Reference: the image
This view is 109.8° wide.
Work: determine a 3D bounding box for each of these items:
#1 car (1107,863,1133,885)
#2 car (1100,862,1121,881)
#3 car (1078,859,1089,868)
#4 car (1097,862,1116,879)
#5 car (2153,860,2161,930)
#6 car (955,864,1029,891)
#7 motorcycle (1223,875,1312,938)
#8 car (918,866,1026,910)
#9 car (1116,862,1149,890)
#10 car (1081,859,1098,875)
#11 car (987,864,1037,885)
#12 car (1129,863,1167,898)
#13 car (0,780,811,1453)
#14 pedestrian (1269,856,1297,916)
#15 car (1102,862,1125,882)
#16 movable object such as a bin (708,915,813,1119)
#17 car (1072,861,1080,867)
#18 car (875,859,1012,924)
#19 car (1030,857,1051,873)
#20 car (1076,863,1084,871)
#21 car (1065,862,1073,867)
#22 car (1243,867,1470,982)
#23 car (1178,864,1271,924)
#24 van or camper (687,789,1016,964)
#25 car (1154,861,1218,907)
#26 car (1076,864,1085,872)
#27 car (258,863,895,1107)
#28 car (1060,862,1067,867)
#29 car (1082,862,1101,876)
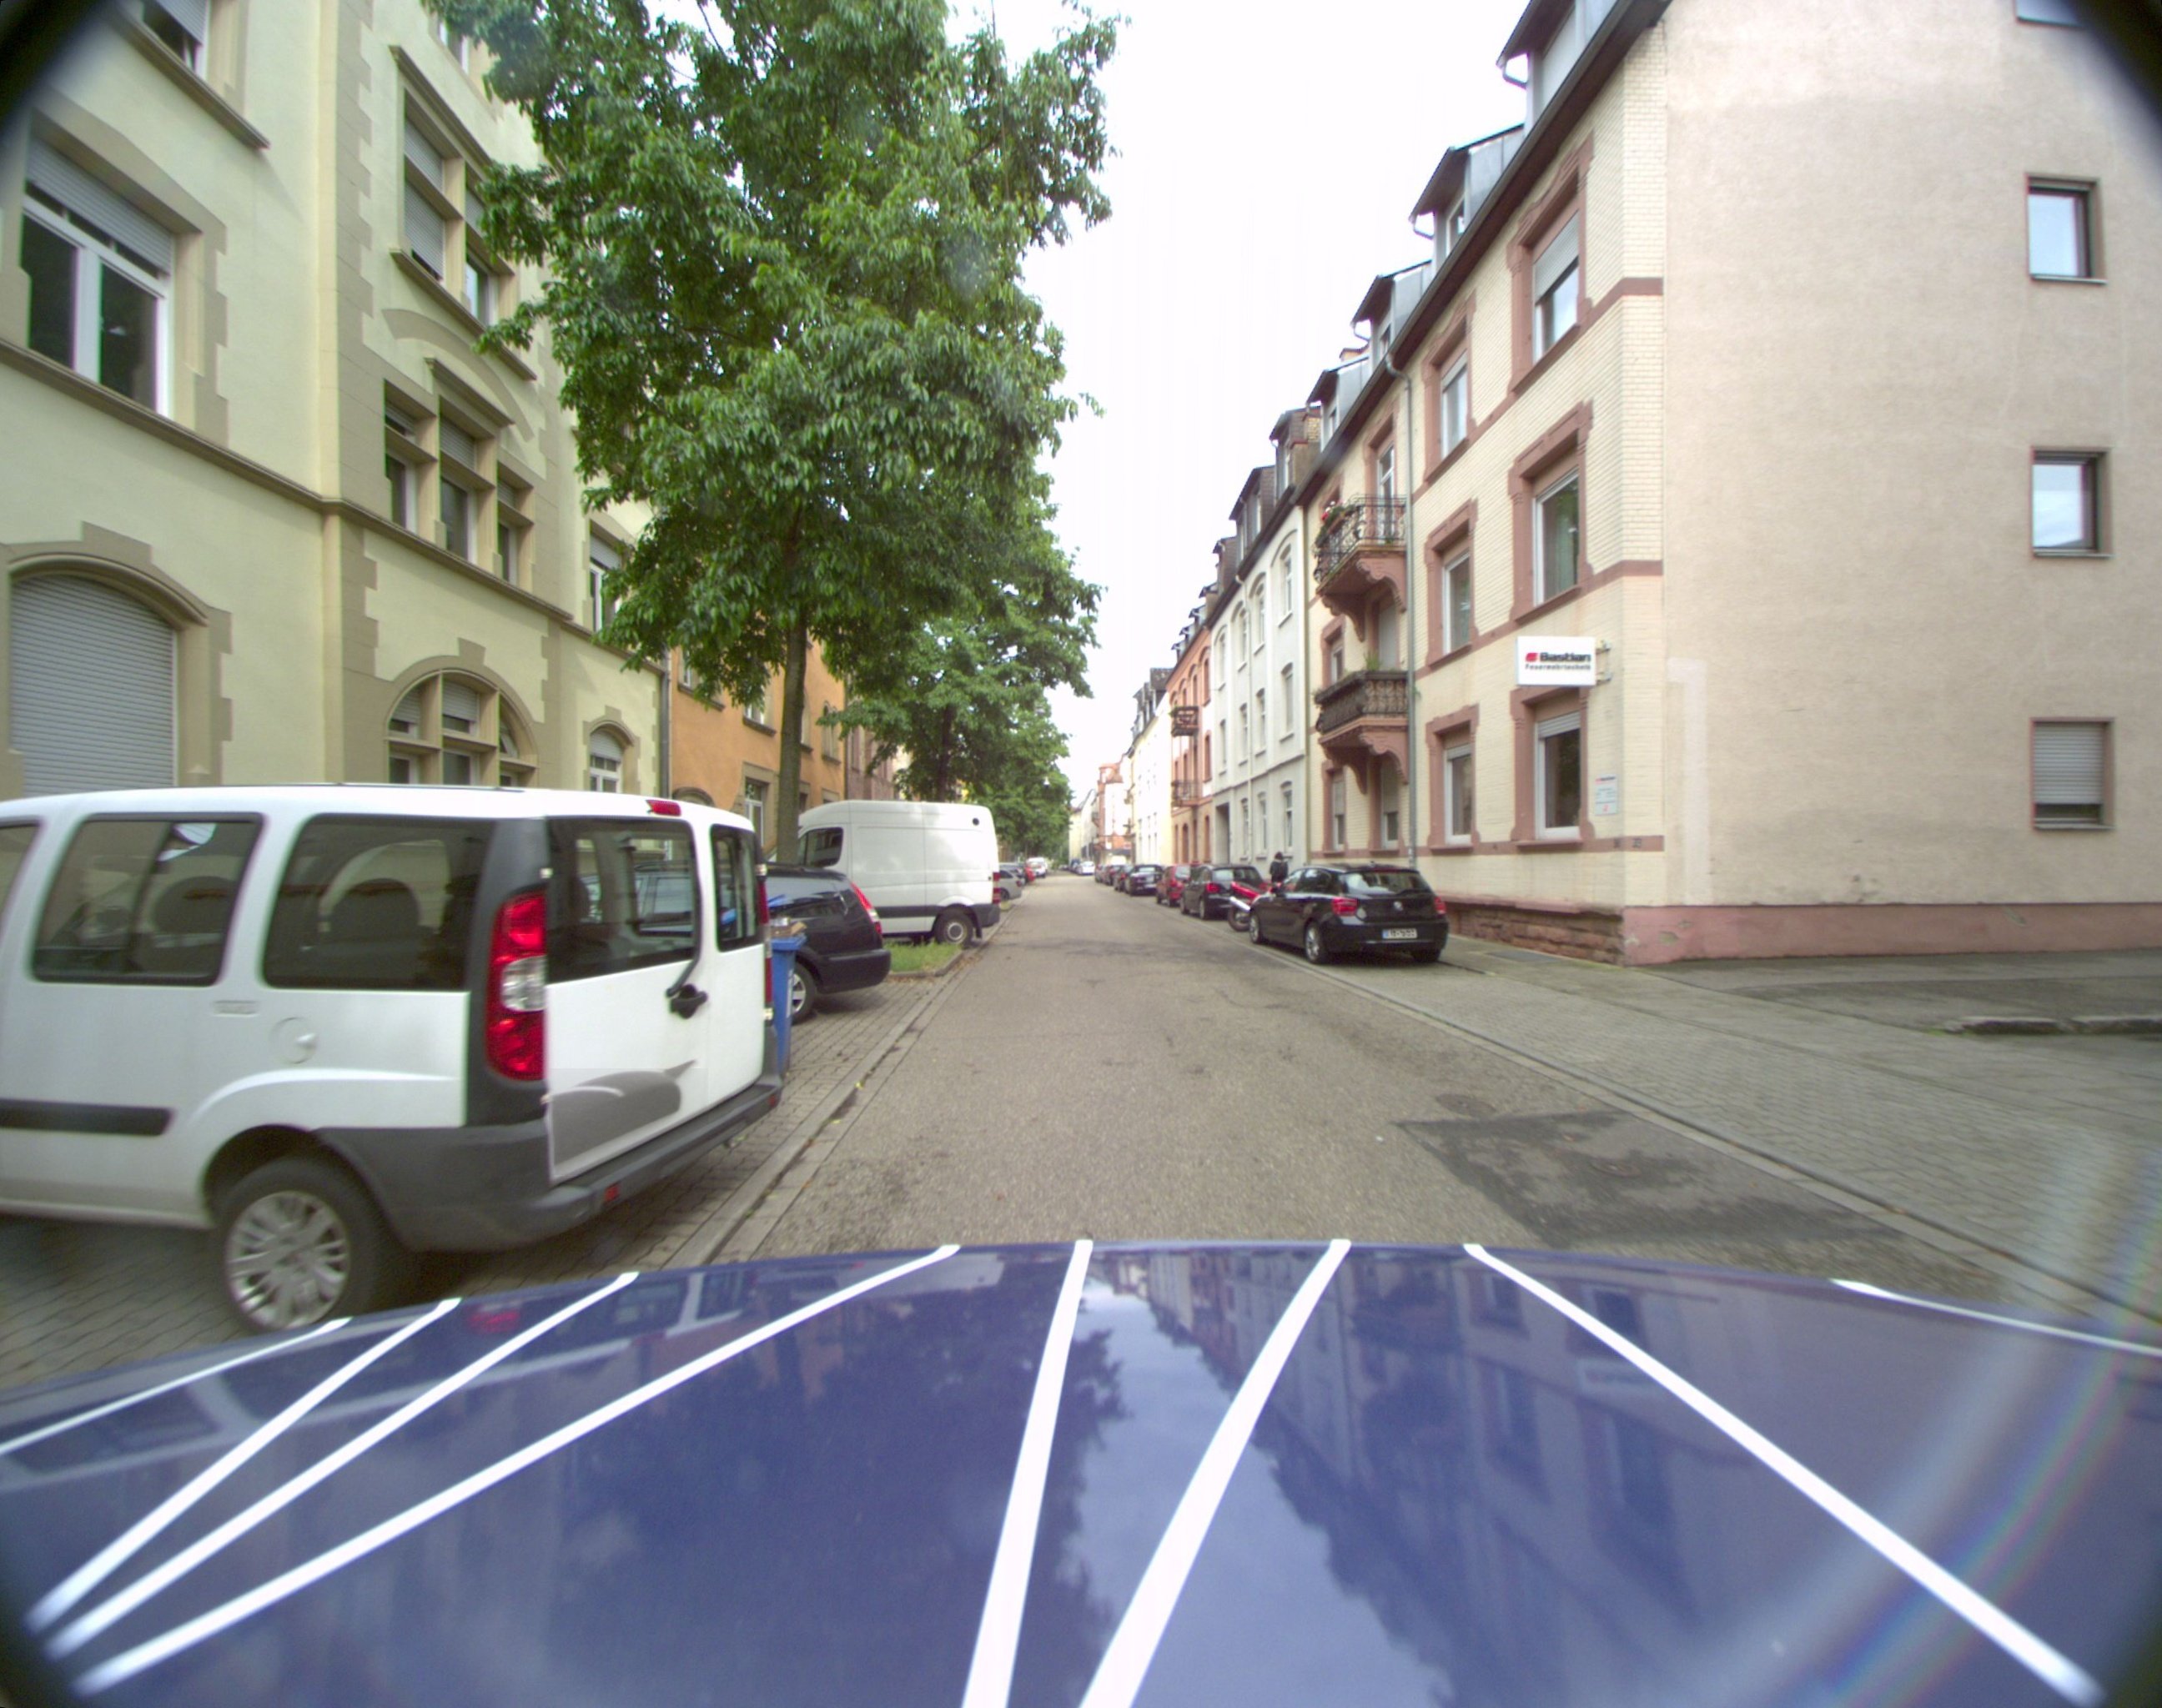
[{"bbox_3d":[2.617,1.329,51.254,1.457,1.401,3.811,-2,-1,-1],"label":"car"},{"bbox_3d":[2.350,1.365,60.809,1.457,1.401,3.811,-2,-1,-1],"label":"car"},{"bbox_3d":[0.380,1.438,116.728,1.457,1.401,3.811,-2,-1,-1],"label":"car"},{"bbox_3d":[2.186,1.391,65.819,1.457,1.401,3.811,-2,-1,-1],"label":"car"},{"bbox_3d":[19.041,0.698,11.312,1.491,1.174,3.349,-2,1,1],"label":"car"},{"bbox_3d":[-5.383,1.381,45.656,4.151,1.489,1.837,-1,0,-15],"label":"car"},{"bbox_3d":[3.800,1.060,15.454,1.710,1.218,0.487,-1,0,16],"label":"motorcycle"},{"bbox_3d":[-4.027,1.223,28.283,3.612,1.458,1.626,-1,0,-33],"label":"car"},{"bbox_3d":[2.728,1.160,40.968,1.457,1.401,3.811,-2,-1,-1],"label":"car"},{"bbox_3d":[1.120,1.678,99.734,2.052,2.071,3.811,-2,-1,-1],"label":"car"},{"bbox_3d":[-5.270,1.531,57.917,3.608,1.458,1.628,-1,0,-15],"label":"car"},{"bbox_3d":[3.021,1.172,34.529,1.457,1.401,3.041,-2,1,1],"label":"car"},{"bbox_3d":[-3.477,0.812,3.250,3.994,1.799,1.723,-1,-6,9],"label":"car"},{"bbox_3d":[5.475,0.860,20.600,0.578,1.599,0.544,-1,0,-2],"label":"pedestrian"},{"bbox_3d":[2.397,1.341,56.383,1.457,1.401,3.811,-2,-1,-1],"label":"car"},{"bbox_3d":[-2.158,1.069,5.172,0.455,1.262,0.601,-1,0,-1],"label":"movable object such as a bin"},{"bbox_3d":[-1.031,2.045,155.997,1.457,1.401,3.810,0,0,-1],"label":"car"},{"bbox_3d":[-4.040,1.040,22.317,3.611,1.723,1.670,-1,0,-25],"label":"car"},{"bbox_3d":[-4.503,1.233,85.070,1.998,1.739,4.000,-1,0,0],"label":"car"},{"bbox_3d":[-0.211,2.415,137.430,1.457,1.401,3.811,-2,-1,-1],"label":"car"},{"bbox_3d":[-2.980,2.618,193.093,1.458,1.401,3.807,0,0,-11],"label":"car"},{"bbox_3d":[3.940,0.930,11.677,1.905,1.382,4.000,-1,0,-2],"label":"car"},{"bbox_3d":[3.676,0.985,20.061,1.660,1.375,3.471,-2,0,-2],"label":"car"},{"bbox_3d":[-3.931,0.454,13.372,5.079,2.575,2.069,3,-2,-32],"label":"van or camper"},{"bbox_3d":[3.536,0.991,26.146,1.610,1.463,3.342,-1,0,-3],"label":"car"},{"bbox_3d":[-0.055,2.336,127.975,1.457,1.401,3.811,-2,-1,-1],"label":"car"},{"bbox_3d":[-4.064,0.893,6.888,4.285,1.607,1.758,1,0,-31],"label":"car"},{"bbox_3d":[-4.650,2.827,201.894,1.458,1.401,3.807,0,0,-11],"label":"car"},{"bbox_3d":[1.194,1.727,88.704,2.082,1.446,4.253,-2,-1,-1],"label":"car"}]
